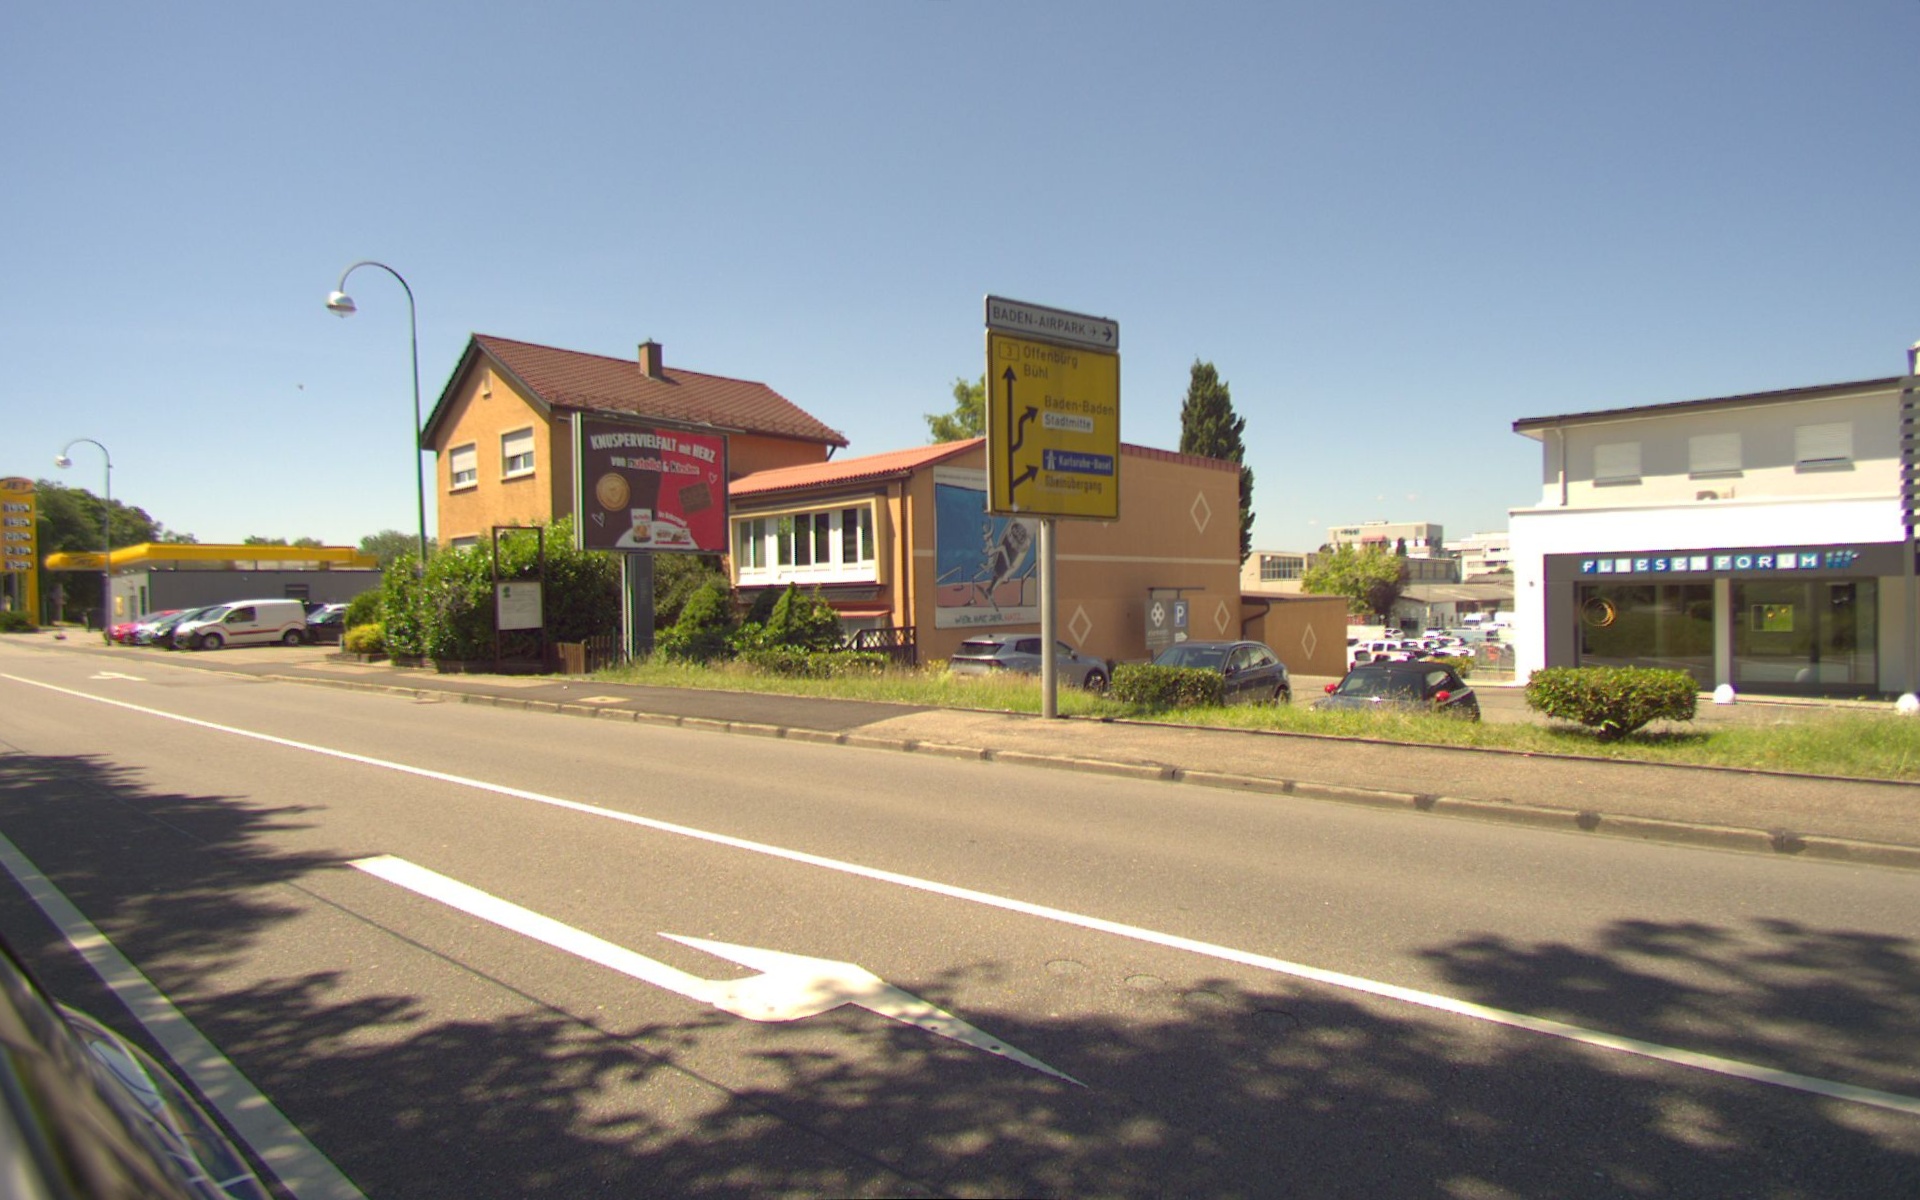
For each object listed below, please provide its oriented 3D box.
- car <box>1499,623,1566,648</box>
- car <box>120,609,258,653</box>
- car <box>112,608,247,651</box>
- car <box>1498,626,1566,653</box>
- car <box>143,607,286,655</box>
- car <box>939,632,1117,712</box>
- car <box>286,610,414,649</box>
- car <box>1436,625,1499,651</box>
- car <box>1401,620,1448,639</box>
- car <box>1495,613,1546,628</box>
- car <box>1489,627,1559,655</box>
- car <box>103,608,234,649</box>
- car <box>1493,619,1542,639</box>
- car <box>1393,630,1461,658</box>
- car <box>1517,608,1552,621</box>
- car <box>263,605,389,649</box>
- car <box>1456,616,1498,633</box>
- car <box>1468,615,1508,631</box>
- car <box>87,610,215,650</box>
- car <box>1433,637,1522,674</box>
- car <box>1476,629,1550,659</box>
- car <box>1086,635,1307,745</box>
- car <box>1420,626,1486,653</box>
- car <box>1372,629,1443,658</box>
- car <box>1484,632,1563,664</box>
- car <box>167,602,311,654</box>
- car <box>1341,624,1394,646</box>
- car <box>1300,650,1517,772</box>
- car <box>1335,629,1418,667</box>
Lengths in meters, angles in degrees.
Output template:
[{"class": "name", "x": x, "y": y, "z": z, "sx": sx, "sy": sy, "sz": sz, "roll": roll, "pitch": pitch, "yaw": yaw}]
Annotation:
[{"class": "car", "x": 42.716, "y": 2.629, "z": 75.553, "sx": 4.055, "sy": 1.768, "sz": 1.707, "roll": -1, "pitch": -1, "yaw": 44}, {"class": "car", "x": -32.650, "y": 1.268, "z": 42.971, "sx": 1.871, "sy": 1.773, "sz": 4.351, "roll": -1, "pitch": -1, "yaw": 35}, {"class": "car", "x": -34.291, "y": 1.261, "z": 44.562, "sx": 1.871, "sy": 1.773, "sz": 4.351, "roll": -1, "pitch": -1, "yaw": 35}, {"class": "car", "x": 39.507, "y": 2.681, "z": 69.908, "sx": 3.774, "sy": 1.768, "sz": 1.707, "roll": -1, "pitch": -1, "yaw": 44}, {"class": "car", "x": -29.296, "y": 1.166, "z": 39.898, "sx": 1.871, "sy": 1.773, "sz": 4.198, "roll": -1, "pitch": -1, "yaw": 35}, {"class": "car", "x": 1.660, "y": 1.607, "z": 23.719, "sx": 4.165, "sy": 1.621, "sz": 1.773, "roll": 0, "pitch": -1, "yaw": -42}, {"class": "car", "x": -26.122, "y": 1.243, "z": 43.470, "sx": 1.871, "sy": 1.575, "sz": 4.351, "roll": -1, "pitch": -1, "yaw": 35}, {"class": "car", "x": 36.580, "y": 2.716, "z": 72.971, "sx": 3.774, "sy": 1.768, "sz": 1.707, "roll": -1, "pitch": -1, "yaw": 44}, {"class": "car", "x": 44.715, "y": 2.804, "z": 97.517, "sx": 3.774, "sy": 1.768, "sz": 1.707, "roll": -1, "pitch": 0, "yaw": 44}, {"class": "car", "x": 71.726, "y": 2.611, "z": 129.516, "sx": 5.303, "sy": 1.768, "sz": 2.037, "roll": -1, "pitch": -1, "yaw": 44}, {"class": "car", "x": 37.750, "y": 2.701, "z": 67.729, "sx": 3.774, "sy": 1.768, "sz": 1.707, "roll": -1, "pitch": -1, "yaw": 44}, {"class": "car", "x": -35.900, "y": 1.240, "z": 46.007, "sx": 1.871, "sy": 1.773, "sz": 4.351, "roll": -1, "pitch": -1, "yaw": 35}, {"class": "car", "x": 53.065, "y": 2.785, "z": 96.308, "sx": 3.774, "sy": 1.768, "sz": 1.707, "roll": 0, "pitch": 1, "yaw": 44}, {"class": "car", "x": 31.114, "y": 2.904, "z": 67.427, "sx": 3.774, "sy": 1.768, "sz": 1.707, "roll": -1, "pitch": -1, "yaw": 44}, {"class": "car", "x": 77.153, "y": 1.939, "z": 135.838, "sx": 3.774, "sy": 1.768, "sz": 1.707, "roll": -1, "pitch": -1, "yaw": 44}, {"class": "car", "x": -27.945, "y": 1.143, "z": 44.714, "sx": 1.871, "sy": 1.839, "sz": 4.351, "roll": -1, "pitch": -1, "yaw": 35}, {"class": "car", "x": 57.740, "y": 2.748, "z": 113.110, "sx": 3.774, "sy": 1.768, "sz": 1.707, "roll": -2, "pitch": 1, "yaw": 43}, {"class": "car", "x": 61.531, "y": 2.636, "z": 117.880, "sx": 3.774, "sy": 1.768, "sz": 1.707, "roll": -1, "pitch": 0, "yaw": 44}, {"class": "car", "x": -37.939, "y": 1.357, "z": 47.545, "sx": 1.871, "sy": 1.773, "sz": 4.351, "roll": -1, "pitch": -1, "yaw": 35}, {"class": "car", "x": 26.767, "y": 2.855, "z": 52.445, "sx": 3.774, "sy": 1.768, "sz": 1.707, "roll": -1, "pitch": -1, "yaw": 44}, {"class": "car", "x": 34.877, "y": 2.744, "z": 63.893, "sx": 3.774, "sy": 1.768, "sz": 1.707, "roll": -1, "pitch": -1, "yaw": 44}, {"class": "car", "x": 4.414, "y": 1.523, "z": 18.467, "sx": 4.462, "sy": 1.654, "sz": 1.772, "roll": 0, "pitch": -1, "yaw": -44}, {"class": "car", "x": 34.445, "y": 2.742, "z": 70.772, "sx": 3.774, "sy": 1.768, "sz": 1.707, "roll": -1, "pitch": -1, "yaw": 44}, {"class": "car", "x": 28.304, "y": 2.720, "z": 64.045, "sx": 3.774, "sy": 1.768, "sz": 1.707, "roll": -1, "pitch": -1, "yaw": 44}, {"class": "car", "x": 32.989, "y": 2.768, "z": 59.286, "sx": 3.774, "sy": 1.768, "sz": 1.707, "roll": -1, "pitch": -1, "yaw": 44}, {"class": "car", "x": -27.528, "y": 1.028, "z": 38.758, "sx": 1.871, "sy": 1.883, "sz": 4.143, "roll": -1, "pitch": -1, "yaw": 35}, {"class": "car", "x": 34.037, "y": 2.931, "z": 84.631, "sx": 3.774, "sy": 1.768, "sz": 1.707, "roll": -1, "pitch": -1, "yaw": 44}, {"class": "car", "x": 7.247, "y": 1.653, "z": 16.184, "sx": 4.039, "sy": 1.544, "sz": 1.772, "roll": 0, "pitch": -1, "yaw": -44}, {"class": "car", "x": 24.121, "y": 2.756, "z": 58.634, "sx": 4.001, "sy": 2.029, "sz": 1.971, "roll": -1, "pitch": -1, "yaw": 44}]
